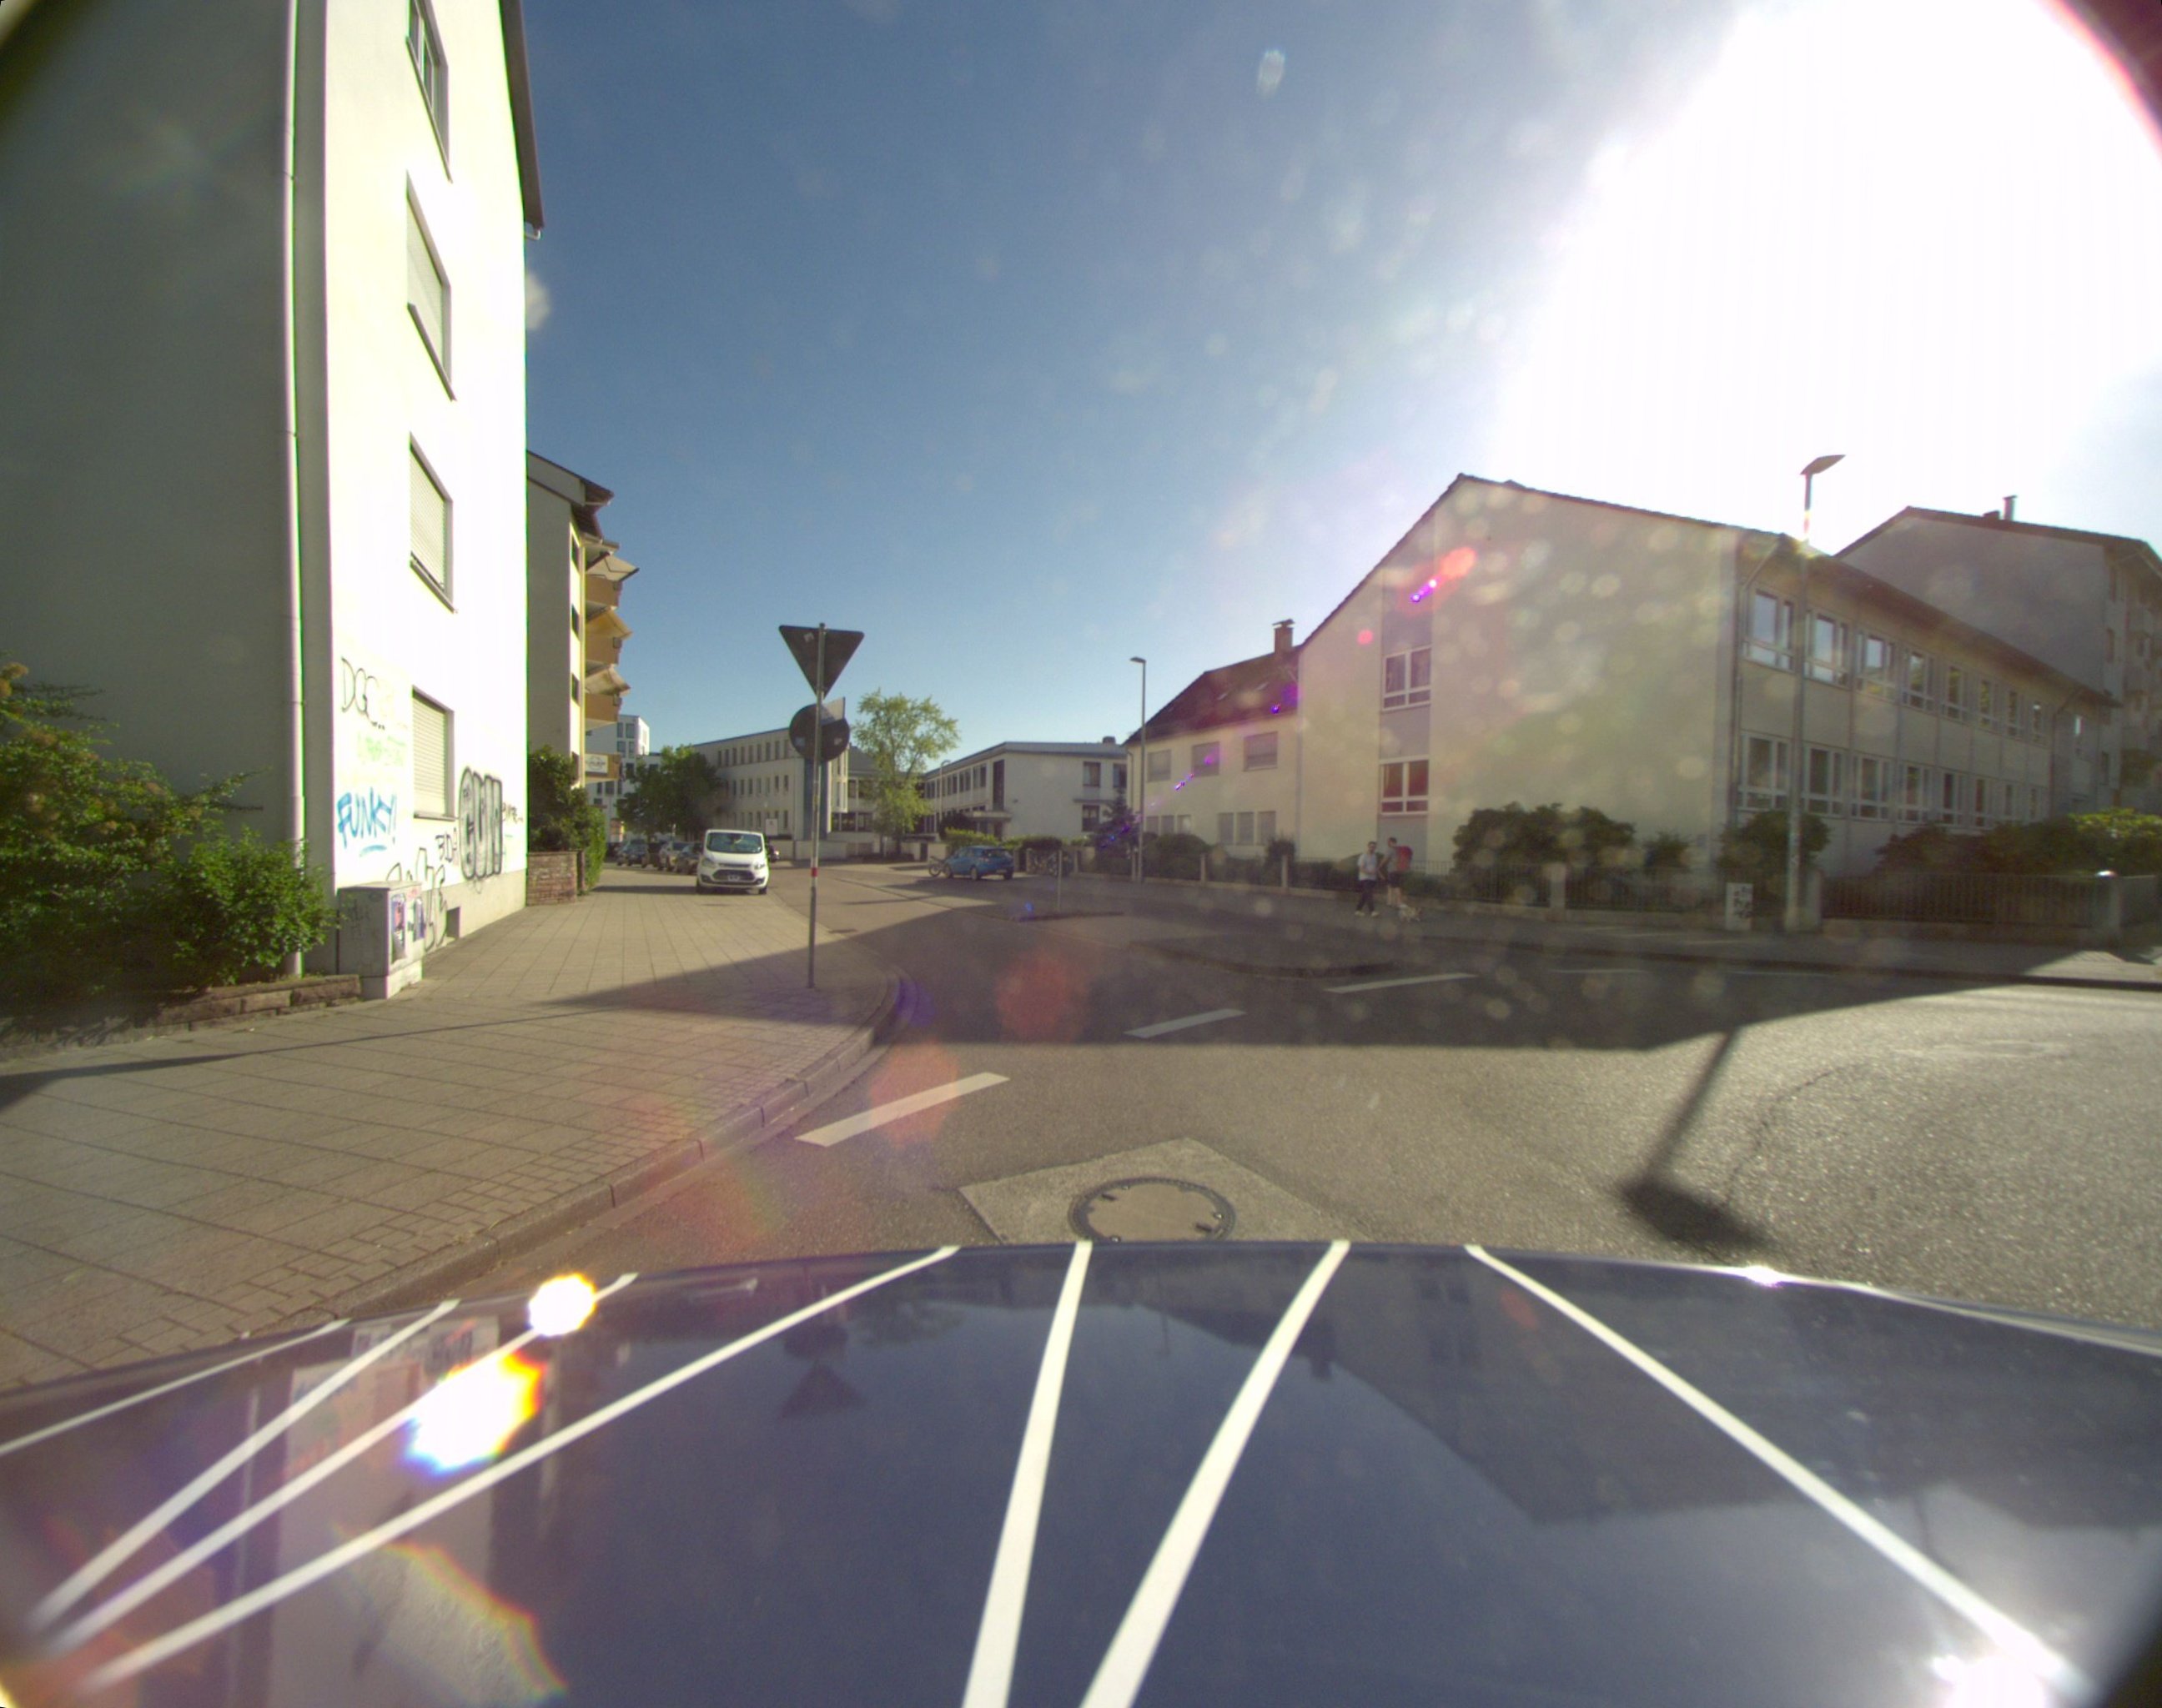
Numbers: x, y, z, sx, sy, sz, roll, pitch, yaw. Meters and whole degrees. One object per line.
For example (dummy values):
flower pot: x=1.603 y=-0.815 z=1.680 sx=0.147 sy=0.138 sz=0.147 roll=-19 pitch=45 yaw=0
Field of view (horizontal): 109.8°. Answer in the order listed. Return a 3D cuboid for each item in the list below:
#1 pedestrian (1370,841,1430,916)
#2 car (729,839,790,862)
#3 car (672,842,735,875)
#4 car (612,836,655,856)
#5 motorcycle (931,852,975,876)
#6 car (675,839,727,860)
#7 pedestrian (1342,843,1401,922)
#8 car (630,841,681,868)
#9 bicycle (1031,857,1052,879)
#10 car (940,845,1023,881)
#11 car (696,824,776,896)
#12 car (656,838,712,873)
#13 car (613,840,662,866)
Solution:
pedestrian: x=7.580 y=0.554 z=18.097 sx=0.821 sy=1.696 sz=0.995 roll=-1 pitch=2 yaw=-27
car: x=-23.649 y=-0.291 z=55.881 sx=4.820 sy=1.604 sz=2.143 roll=1 pitch=3 yaw=40
car: x=-18.089 y=0.191 z=36.352 sx=1.763 sy=1.386 sz=3.988 roll=5 pitch=-2 yaw=-39
car: x=-43.111 y=-0.809 z=73.111 sx=4.820 sy=1.800 sz=2.143 roll=2 pitch=3 yaw=42
motorcycle: x=-6.079 y=0.463 z=36.149 sx=1.963 sy=1.089 sz=0.590 roll=-1 pitch=1 yaw=-6
car: x=-31.247 y=-0.424 z=62.367 sx=4.820 sy=1.604 sz=2.143 roll=2 pitch=3 yaw=42
pedestrian: x=6.483 y=0.605 z=16.969 sx=0.693 sy=1.696 sz=0.995 roll=-1 pitch=2 yaw=-27
car: x=-25.479 y=0.007 z=45.469 sx=1.763 sy=1.445 sz=3.988 roll=5 pitch=-2 yaw=-42
bicycle: x=-1.876 y=0.666 z=35.905 sx=0.346 sy=1.010 sz=1.260 roll=1 pitch=1 yaw=-33
car: x=-4.475 y=0.337 z=33.664 sx=1.889 sy=1.426 sz=4.402 roll=-1 pitch=2 yaw=-34
car: x=-11.033 y=0.156 z=24.144 sx=2.003 sy=2.001 sz=4.786 roll=3 pitch=-1 yaw=-26
car: x=-20.962 y=0.058 z=40.024 sx=1.763 sy=1.632 sz=3.988 roll=4 pitch=-2 yaw=-39
car: x=-28.507 y=-0.082 z=48.789 sx=1.763 sy=1.445 sz=3.988 roll=5 pitch=-2 yaw=-43
